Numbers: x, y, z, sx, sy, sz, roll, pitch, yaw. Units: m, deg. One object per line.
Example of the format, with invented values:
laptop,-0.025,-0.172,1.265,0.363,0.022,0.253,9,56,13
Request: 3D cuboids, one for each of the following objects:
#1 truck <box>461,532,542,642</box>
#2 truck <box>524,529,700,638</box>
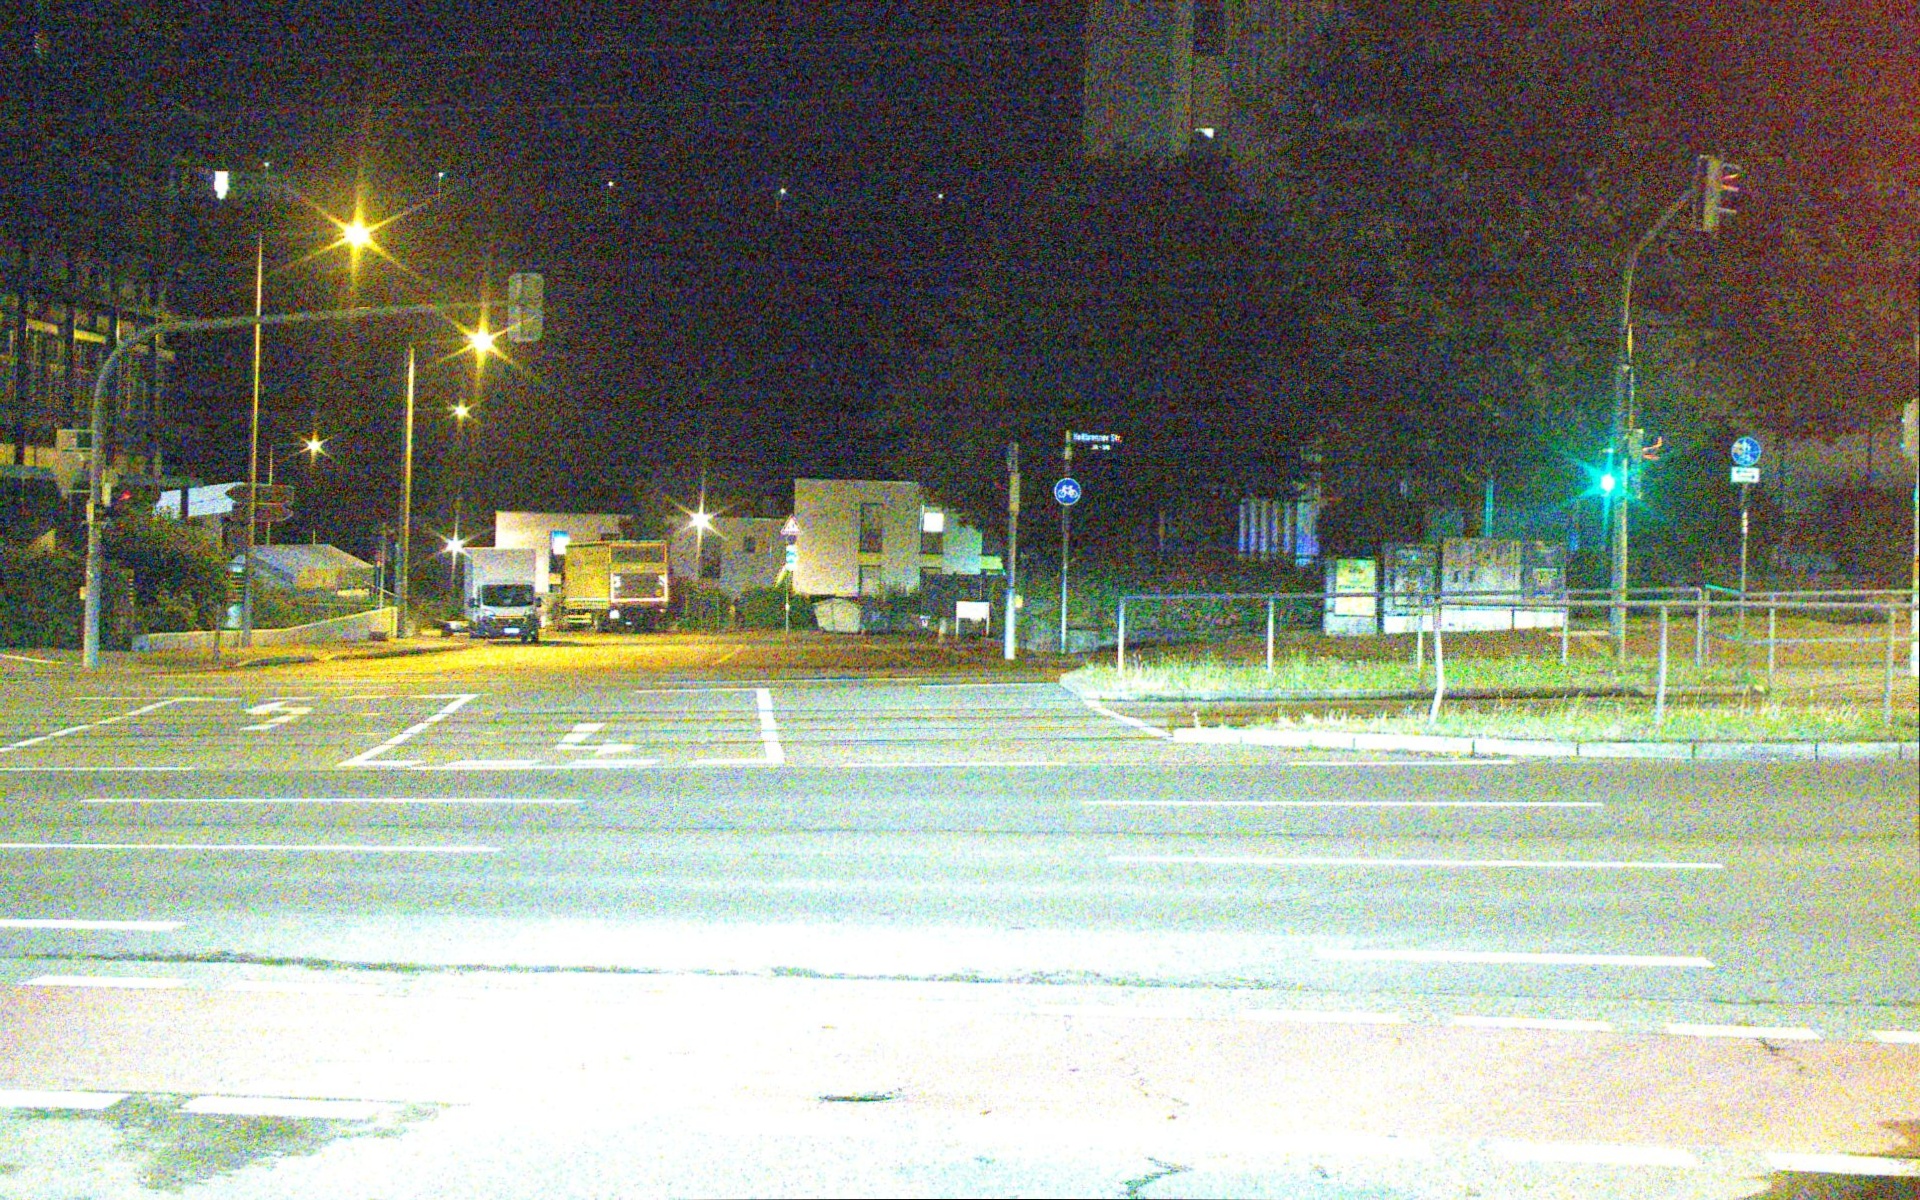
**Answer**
truck,-15.927,-0.469,119.202,2.582,3.694,5.739,1,1,-9
truck,-15.419,-0.761,151.058,4.821,4.531,12.669,1,1,-19
